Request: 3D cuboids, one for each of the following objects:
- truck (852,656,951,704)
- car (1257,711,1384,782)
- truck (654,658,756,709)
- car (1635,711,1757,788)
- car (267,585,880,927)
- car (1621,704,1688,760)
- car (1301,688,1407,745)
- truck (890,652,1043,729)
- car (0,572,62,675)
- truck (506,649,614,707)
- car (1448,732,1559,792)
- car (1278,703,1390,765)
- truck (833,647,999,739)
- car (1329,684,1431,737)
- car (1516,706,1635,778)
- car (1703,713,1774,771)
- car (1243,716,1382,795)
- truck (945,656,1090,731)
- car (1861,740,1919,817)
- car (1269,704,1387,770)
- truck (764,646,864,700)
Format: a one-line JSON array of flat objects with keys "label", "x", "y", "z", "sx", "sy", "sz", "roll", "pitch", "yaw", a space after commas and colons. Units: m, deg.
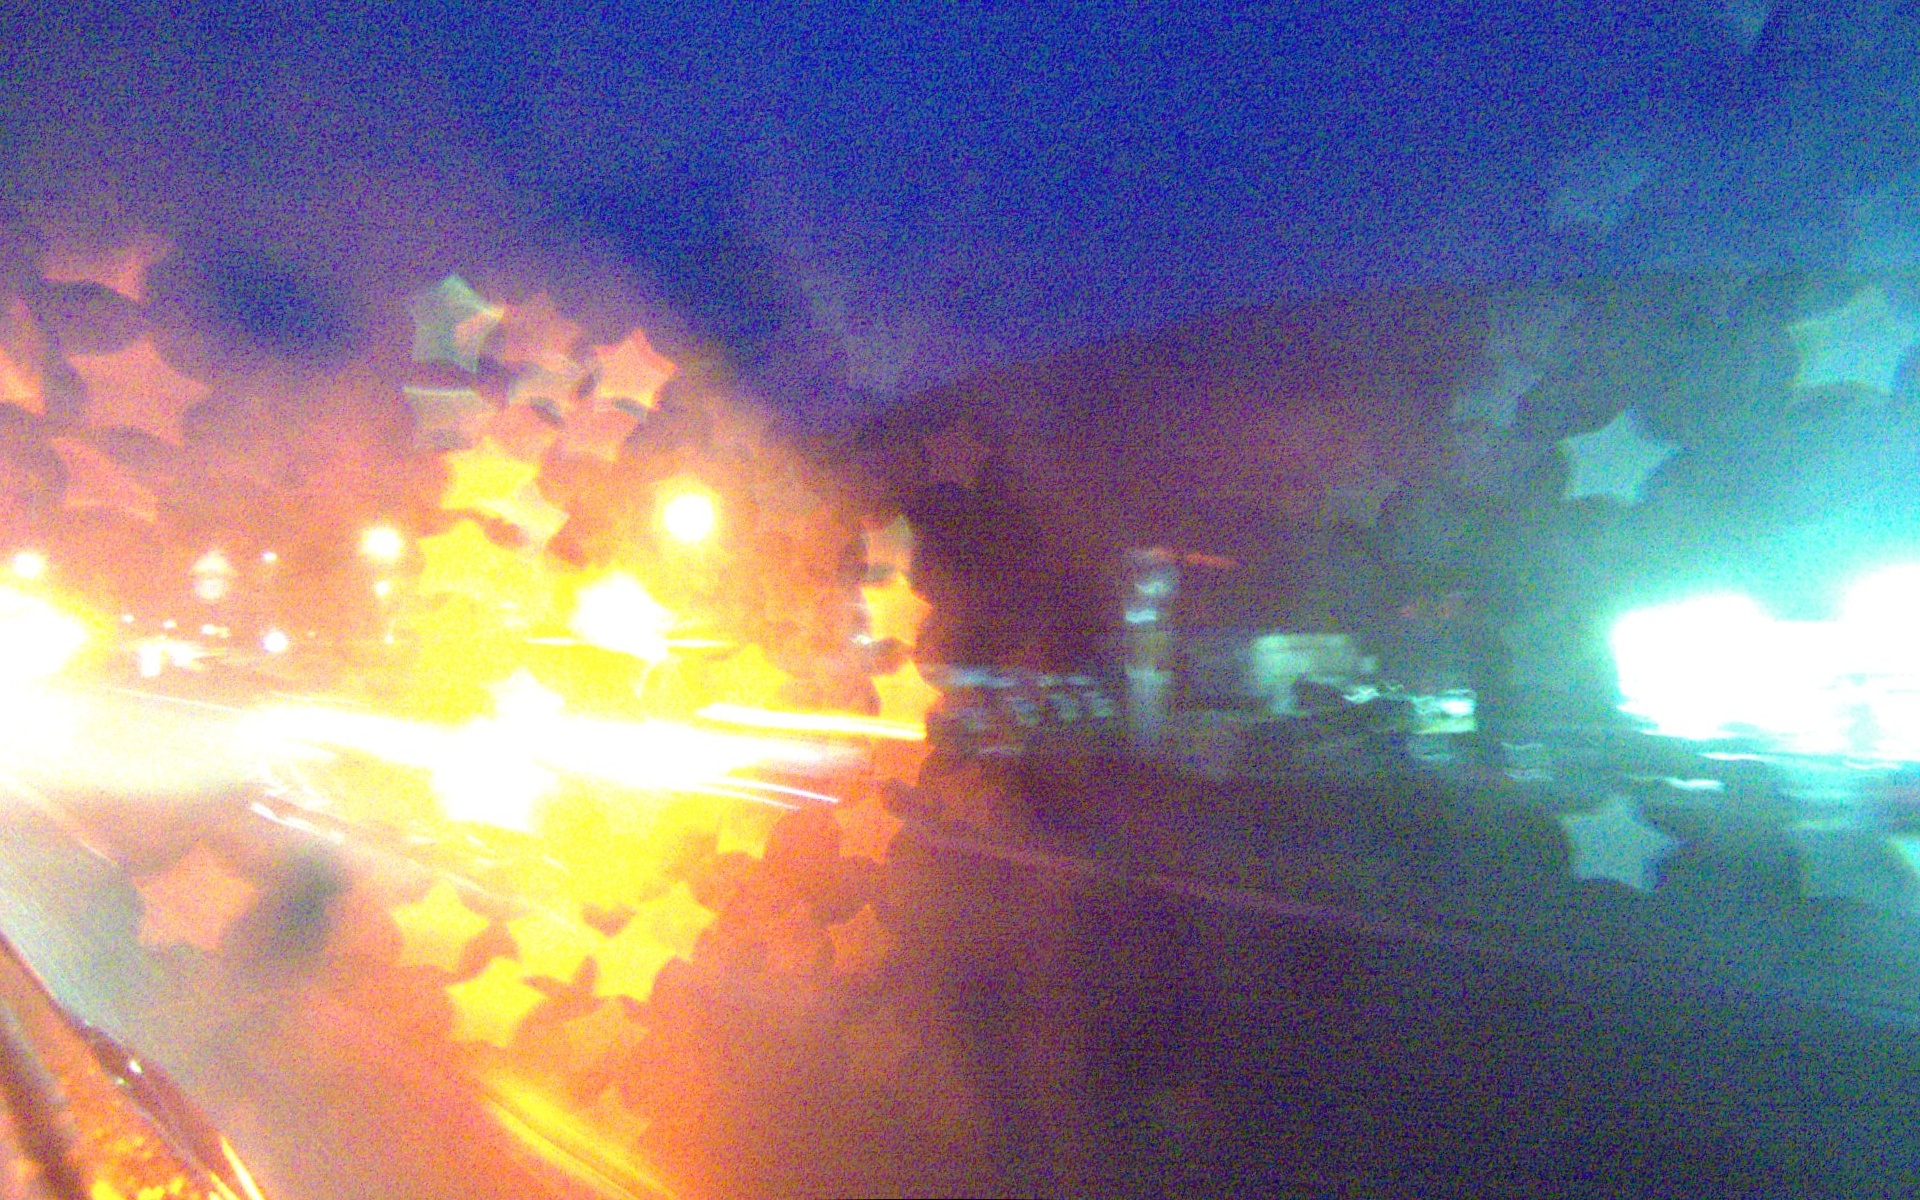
[{"label": "truck", "x": -4.097, "y": 5.506, "z": 69.945, "sx": 6.857, "sy": 2.825, "sz": 2.149, "roll": 1, "pitch": -6, "yaw": 36}, {"label": "car", "x": 11.857, "y": 4.767, "z": 33.337, "sx": 3.708, "sy": 1.921, "sz": 1.705, "roll": -1, "pitch": -1, "yaw": 30}, {"label": "truck", "x": -15.082, "y": 4.855, "z": 59.568, "sx": 6.868, "sy": 2.538, "sz": 2.145, "roll": 0, "pitch": -6, "yaw": 42}, {"label": "car", "x": 21.387, "y": 4.287, "z": 29.589, "sx": 1.987, "sy": 1.652, "sz": 3.969, "roll": -1, "pitch": -1, "yaw": 23}, {"label": "car", "x": -2.570, "y": 0.626, "z": 6.116, "sx": 4.321, "sy": 1.390, "sz": 1.575, "roll": 0, "pitch": 0, "yaw": 40}, {"label": "car", "x": 26.798, "y": 5.071, "z": 39.001, "sx": 1.929, "sy": 1.870, "sz": 3.949, "roll": 1, "pitch": -6, "yaw": 38}, {"label": "car", "x": 16.563, "y": 4.842, "z": 42.577, "sx": 3.982, "sy": 2.029, "sz": 1.722, "roll": -1, "pitch": -1, "yaw": 29}, {"label": "truck", "x": 0.257, "y": 4.306, "z": 48.573, "sx": 7.031, "sy": 3.121, "sz": 2.415, "roll": 1, "pitch": -5, "yaw": 33}, {"label": "car", "x": -20.555, "y": 0.486, "z": 21.191, "sx": 4.875, "sy": 2.018, "sz": 1.873, "roll": -1, "pitch": 0, "yaw": 39}, {"label": "truck", "x": -20.866, "y": 3.995, "z": 52.584, "sx": 6.868, "sy": 2.538, "sz": 2.145, "roll": 0, "pitch": -6, "yaw": 42}, {"label": "car", "x": 13.754, "y": 4.028, "z": 25.502, "sx": 1.845, "sy": 1.210, "sz": 3.949, "roll": 1, "pitch": -6, "yaw": 38}, {"label": "car", "x": 14.016, "y": 4.977, "z": 37.939, "sx": 3.708, "sy": 1.921, "sz": 1.705, "roll": -1, "pitch": -1, "yaw": 30}, {"label": "truck", "x": -2.000, "y": 4.039, "z": 44.602, "sx": 7.033, "sy": 3.506, "sz": 2.446, "roll": 1, "pitch": -5, "yaw": 34}, {"label": "car", "x": 18.488, "y": 4.823, "z": 44.594, "sx": 3.982, "sy": 2.029, "sz": 1.722, "roll": -1, "pitch": -1, "yaw": 29}, {"label": "car", "x": 18.832, "y": 4.289, "z": 31.171, "sx": 1.981, "sy": 1.652, "sz": 3.982, "roll": -1, "pitch": -1, "yaw": 14}, {"label": "car", "x": 28.972, "y": 5.259, "z": 37.706, "sx": 1.997, "sy": 1.870, "sz": 3.949, "roll": 1, "pitch": -6, "yaw": 38}, {"label": "car", "x": 10.649, "y": 4.650, "z": 30.626, "sx": 3.708, "sy": 1.921, "sz": 1.705, "roll": -1, "pitch": -1, "yaw": 30}, {"label": "truck", "x": 2.900, "y": 4.775, "z": 52.148, "sx": 7.031, "sy": 3.285, "sz": 2.415, "roll": 1, "pitch": -5, "yaw": 33}, {"label": "car", "x": 20.570, "y": 3.797, "z": 21.434, "sx": 1.909, "sy": 1.466, "sz": 3.949, "roll": 1, "pitch": -6, "yaw": 38}, {"label": "car", "x": 12.994, "y": 4.778, "z": 35.763, "sx": 3.708, "sy": 1.921, "sz": 1.705, "roll": -1, "pitch": -1, "yaw": 30}, {"label": "truck", "x": -9.558, "y": 4.741, "z": 65.839, "sx": 6.682, "sy": 3.068, "sz": 2.149, "roll": 1, "pitch": -6, "yaw": 36}]
